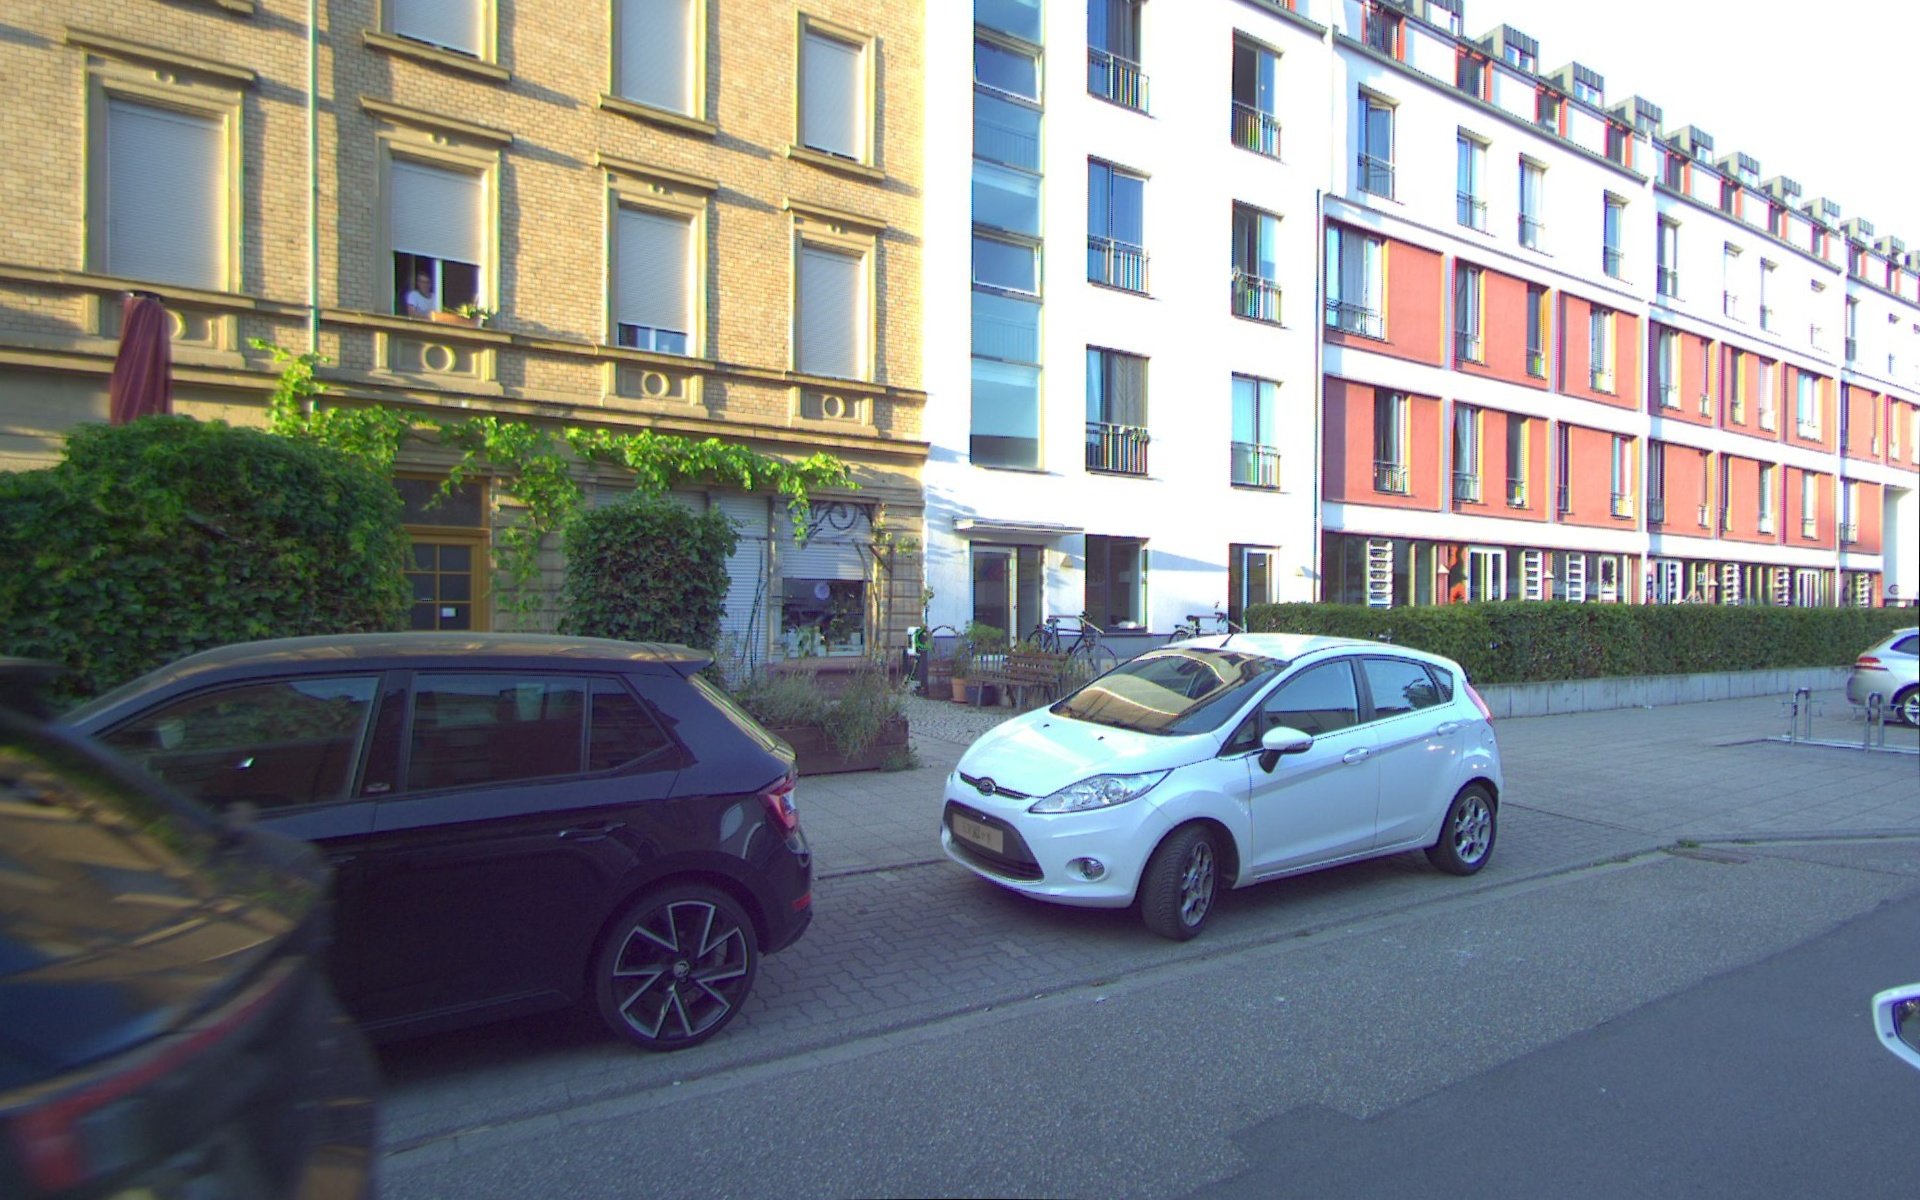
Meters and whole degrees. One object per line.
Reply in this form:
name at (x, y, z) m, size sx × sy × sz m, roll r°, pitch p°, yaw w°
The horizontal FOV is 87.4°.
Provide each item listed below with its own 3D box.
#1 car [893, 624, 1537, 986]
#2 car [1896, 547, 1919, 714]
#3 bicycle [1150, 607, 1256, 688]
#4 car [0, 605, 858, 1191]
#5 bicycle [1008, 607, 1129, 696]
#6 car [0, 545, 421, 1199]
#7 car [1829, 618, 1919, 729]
car at (1.713, 0.947, 6.225) m, size 3.975 × 1.551 × 1.641 m, roll 1°, pitch 0°, yaw -34°
car at (16.872, 0.527, 14.491) m, size 1.976 × 2.619 × 4.491 m, roll 1°, pitch 1°, yaw -29°
bicycle at (3.831, 0.727, 15.970) m, size 0.603 × 1.163 × 1.768 m, roll 1°, pitch 1°, yaw -28°
car at (-2.466, 0.816, 3.755) m, size 3.800 × 1.555 × 1.695 m, roll 1°, pitch 0°, yaw -31°
bicycle at (1.553, 0.717, 14.730) m, size 0.802 × 1.157 × 1.906 m, roll 1°, pitch 1°, yaw -29°
car at (-2.617, 0.726, 0.680) m, size 3.951 × 1.537 × 1.772 m, roll 1°, pitch -2°, yaw -29°
car at (14.674, 1.064, 13.194) m, size 1.861 × 1.480 × 4.587 m, roll 1°, pitch 1°, yaw -33°
